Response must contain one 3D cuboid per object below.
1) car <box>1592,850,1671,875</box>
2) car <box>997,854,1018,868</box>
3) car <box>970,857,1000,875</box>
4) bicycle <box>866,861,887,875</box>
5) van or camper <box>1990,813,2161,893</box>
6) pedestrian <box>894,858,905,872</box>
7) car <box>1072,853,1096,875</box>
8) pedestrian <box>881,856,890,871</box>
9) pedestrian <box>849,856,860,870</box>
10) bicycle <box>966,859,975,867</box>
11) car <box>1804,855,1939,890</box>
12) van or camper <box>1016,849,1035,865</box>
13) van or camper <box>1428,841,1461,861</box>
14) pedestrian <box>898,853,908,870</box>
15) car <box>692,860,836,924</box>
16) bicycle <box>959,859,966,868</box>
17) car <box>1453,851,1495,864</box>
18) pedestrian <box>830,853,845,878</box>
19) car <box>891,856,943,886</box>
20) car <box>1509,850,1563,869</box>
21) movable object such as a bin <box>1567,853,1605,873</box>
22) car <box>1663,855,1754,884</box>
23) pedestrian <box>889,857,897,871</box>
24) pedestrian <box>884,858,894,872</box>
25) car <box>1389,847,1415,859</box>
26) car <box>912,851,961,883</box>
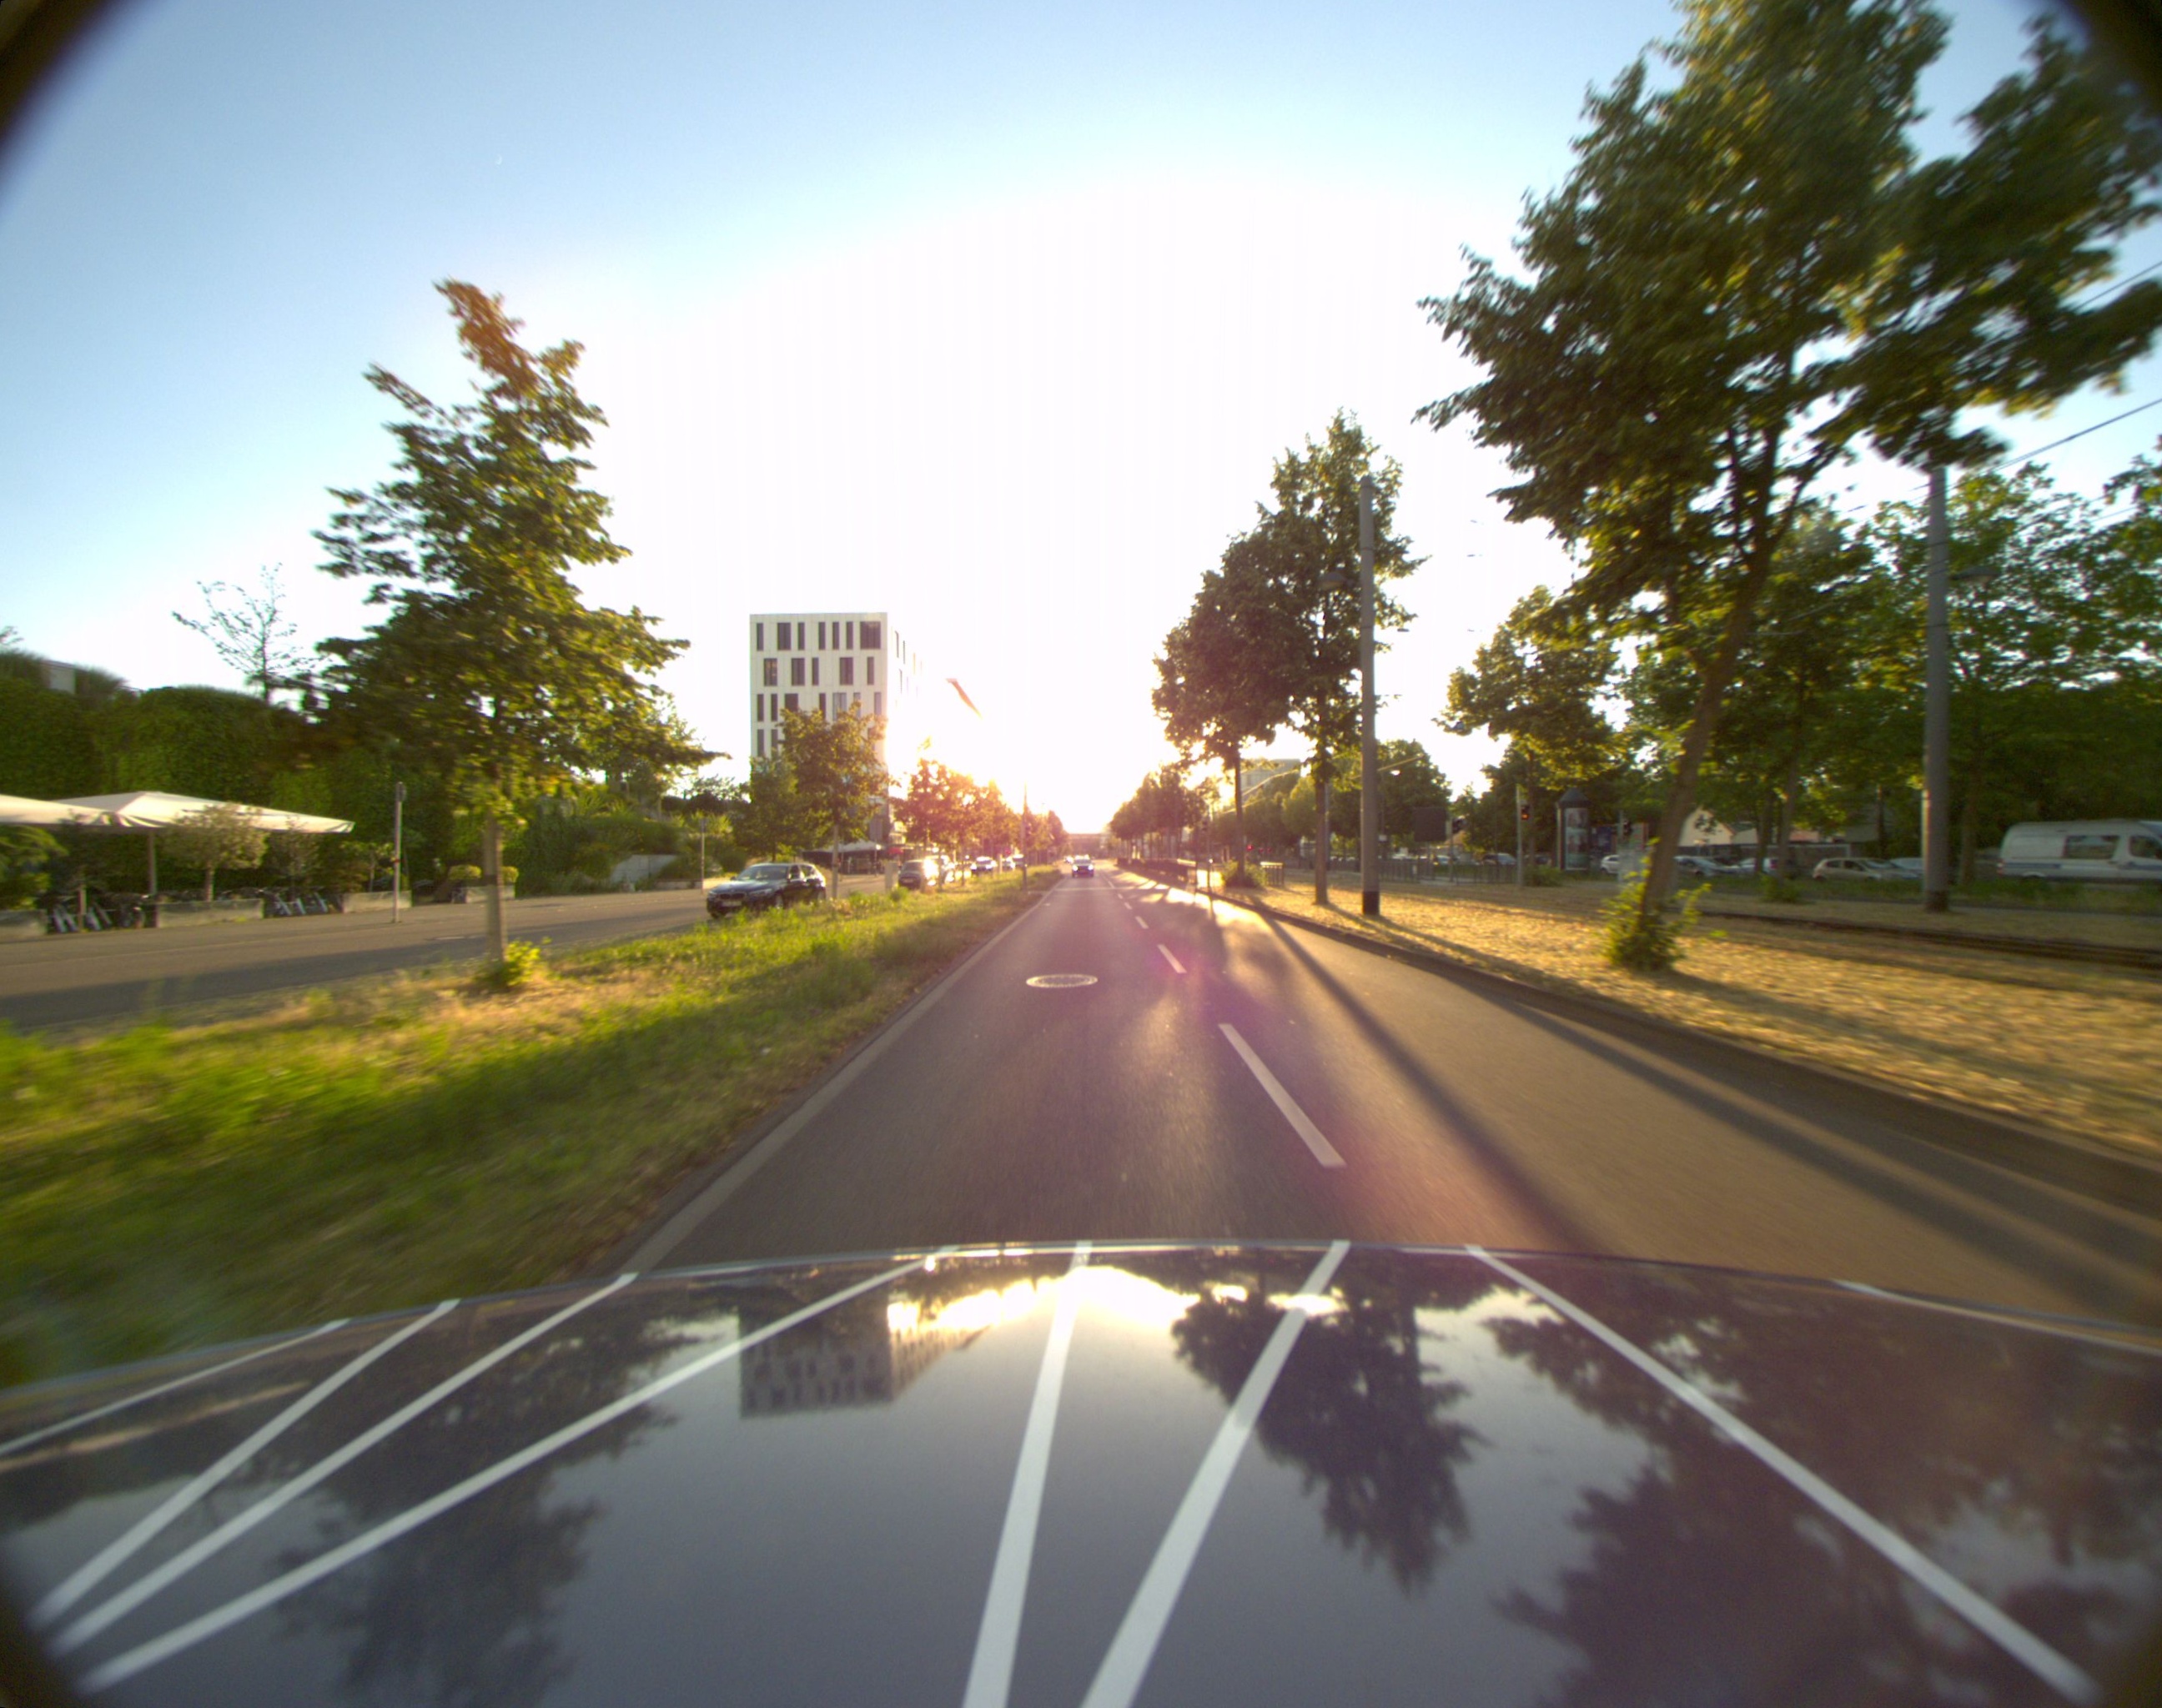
[{"bbox_3d":[35.016,0.512,48.477,1.998,1.491,4.299,-1,0,2],"label":"car"},{"bbox_3d":[-7.831,0.749,80.948,1.813,1.492,4.479,-1,0,0],"label":"car"},{"bbox_3d":[-8.278,1.033,66.194,1.924,1.492,5.411,-1,0,0],"label":"car"},{"bbox_3d":[-15.949,1.098,59.283,0.544,1.037,1.915,0,0,20],"label":"bicycle"},{"bbox_3d":[33.187,-0.051,24.027,2.289,2.351,5.785,-1,0,5],"label":"van or camper"},{"bbox_3d":[-16.954,1.058,71.073,0.782,1.283,0.685,1,0,7],"label":"pedestrian"},{"bbox_3d":[0.227,0.791,59.955,1.828,1.625,4.000,-1,0,0],"label":"car"},{"bbox_3d":[-18.029,0.830,70.072,0.745,1.360,0.770,-1,0,-11],"label":"pedestrian"},{"bbox_3d":[-20.763,0.854,69.603,0.745,1.258,0.771,-1,0,1],"label":"pedestrian"},{"bbox_3d":[-14.674,1.218,100.814,0.530,1.034,1.919,1,0,12],"label":"bicycle"},{"bbox_3d":[36.094,0.793,34.863,1.998,1.492,4.098,-1,0,2],"label":"car"},{"bbox_3d":[-7.120,0.357,98.533,1.963,1.908,4.830,-2,0,1],"label":"van or camper"},{"bbox_3d":[49.113,-0.406,102.795,2.396,2.548,5.635,0,0,7],"label":"van or camper"},{"bbox_3d":[-18.402,0.771,78.580,0.661,1.749,0.686,2,1,18],"label":"pedestrian"},{"bbox_3d":[-8.497,0.956,20.845,1.812,1.492,4.370,-2,0,4],"label":"car"},{"bbox_3d":[-14.770,1.221,94.608,0.388,1.102,2.148,2,0,1],"label":"bicycle"},{"bbox_3d":[37.198,0.336,72.043,1.998,1.194,4.090,-1,0,2],"label":"car"},{"bbox_3d":[-16.660,0.778,52.029,0.696,1.645,1.078,-1,0,0],"label":"pedestrian"},{"bbox_3d":[-8.316,0.846,38.849,1.754,1.390,4.000,-2,0,0],"label":"car"},{"bbox_3d":[36.038,0.435,60.270,1.998,1.440,4.001,-1,0,2],"label":"car"},{"bbox_3d":[34.856,0.602,52.467,1.556,1.364,1.724,-1,0,2],"label":"movable object such as a bin"},{"bbox_3d":[34.550,0.825,42.002,1.814,1.522,4.054,-1,0,2],"label":"car"},{"bbox_3d":[-17.788,0.978,71.967,0.685,1.283,0.628,1,0,-12],"label":"pedestrian"},{"bbox_3d":[-17.952,1.003,71.095,0.664,1.283,0.683,1,1,-32],"label":"pedestrian"},{"bbox_3d":[42.199,-0.137,100.014,1.998,1.521,4.002,-1,0,5],"label":"car"},{"bbox_3d":[-8.311,0.708,44.039,1.813,1.622,4.676,-4,0,0],"label":"car"}]
